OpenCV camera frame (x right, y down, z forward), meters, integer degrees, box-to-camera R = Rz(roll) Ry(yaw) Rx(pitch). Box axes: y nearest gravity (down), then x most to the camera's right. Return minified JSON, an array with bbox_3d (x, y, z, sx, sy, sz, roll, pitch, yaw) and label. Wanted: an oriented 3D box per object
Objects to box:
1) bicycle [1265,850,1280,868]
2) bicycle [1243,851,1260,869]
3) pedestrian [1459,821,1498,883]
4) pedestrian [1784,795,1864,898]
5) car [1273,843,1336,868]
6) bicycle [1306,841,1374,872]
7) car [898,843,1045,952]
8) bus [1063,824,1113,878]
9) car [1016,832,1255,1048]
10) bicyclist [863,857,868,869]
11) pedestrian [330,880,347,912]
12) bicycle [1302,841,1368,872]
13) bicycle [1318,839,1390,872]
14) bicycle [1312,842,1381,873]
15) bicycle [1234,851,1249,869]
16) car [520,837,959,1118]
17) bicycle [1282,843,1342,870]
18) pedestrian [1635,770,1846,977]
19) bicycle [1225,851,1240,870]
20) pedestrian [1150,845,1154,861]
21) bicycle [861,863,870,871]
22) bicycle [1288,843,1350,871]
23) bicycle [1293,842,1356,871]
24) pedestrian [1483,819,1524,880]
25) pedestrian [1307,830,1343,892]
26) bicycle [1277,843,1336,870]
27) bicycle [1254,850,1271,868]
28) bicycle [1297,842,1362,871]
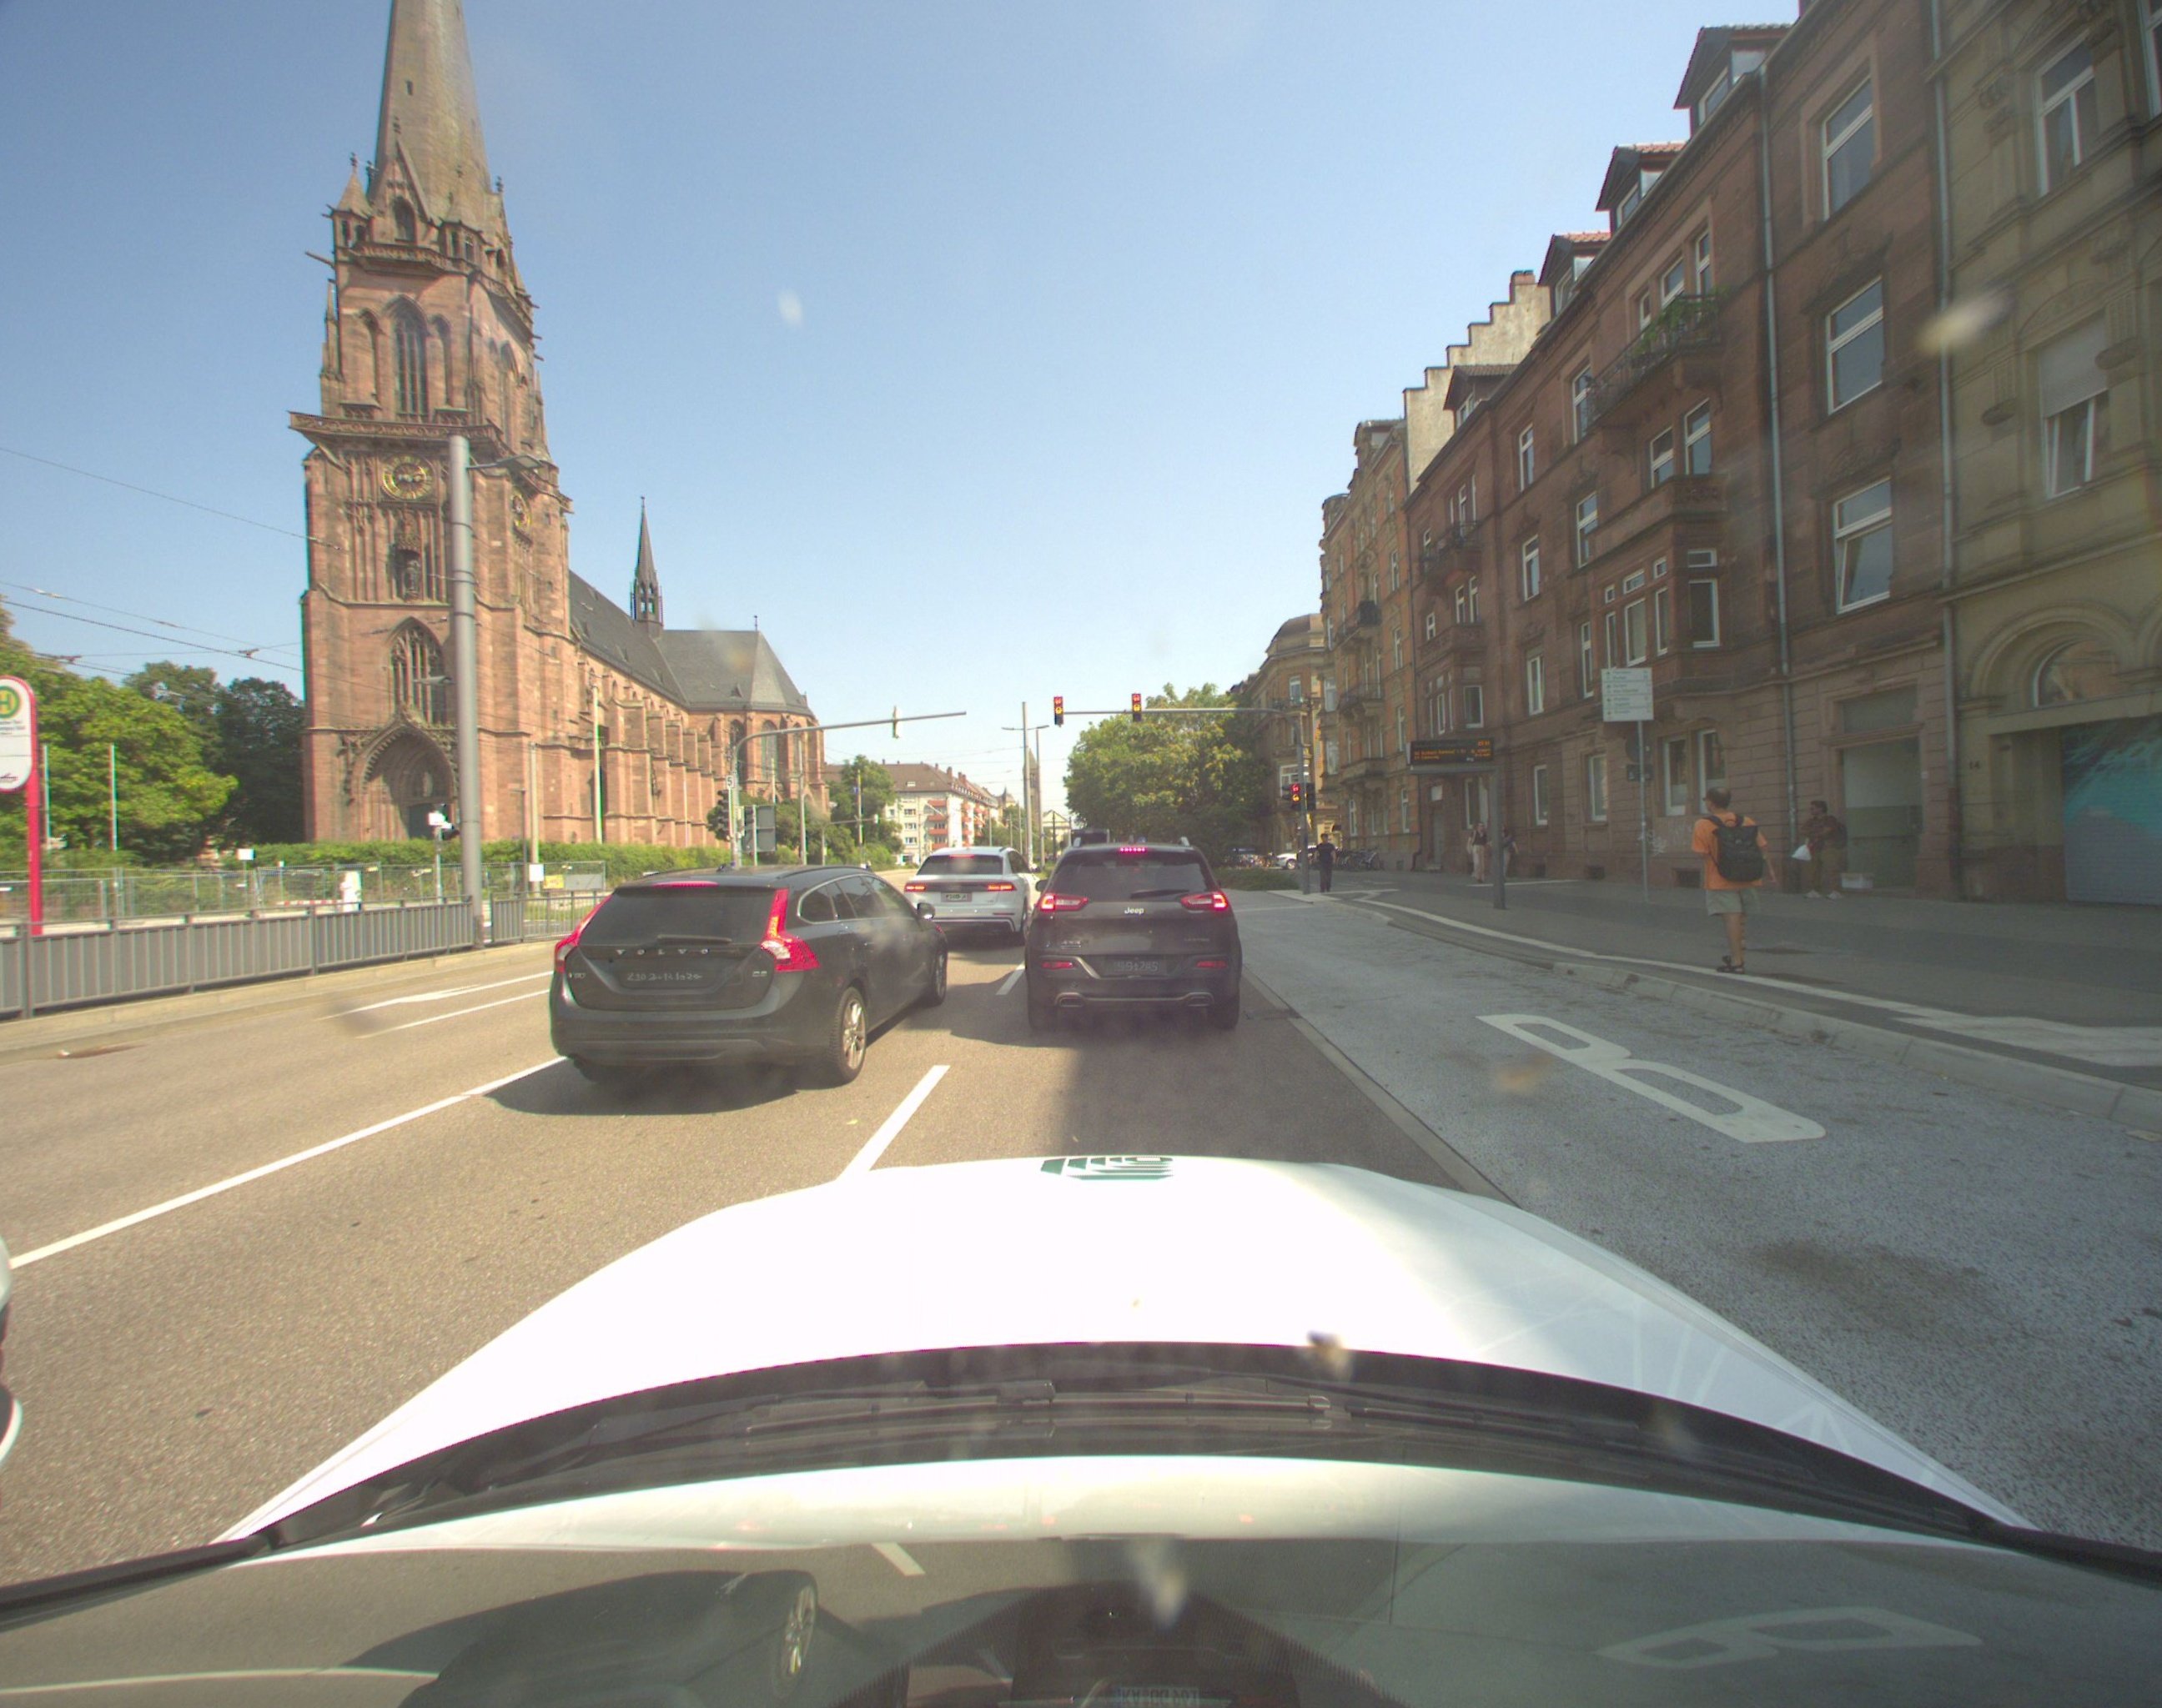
[{"bbox_3d":[13.795,0.329,58.736,0.655,1.249,2.415,-2,0,4],"label":"bicycle"},{"bbox_3d":[12.194,0.395,58.326,0.729,1.253,3.017,-2,0,4],"label":"bicycle"},{"bbox_3d":[11.840,-0.061,24.269,0.711,1.776,0.848,-2,0,1],"label":"pedestrian"},{"bbox_3d":[13.282,-0.138,14.567,0.872,1.778,0.737,-2,0,-26],"label":"pedestrian"},{"bbox_3d":[15.687,0.105,57.275,3.926,1.521,1.679,-2,0,-6],"label":"car"},{"bbox_3d":[12.603,0.133,39.675,2.983,1.371,0.871,-2,0,1],"label":"bicycle"},{"bbox_3d":[-1.777,0.657,14.690,1.895,1.651,4.310,-1,0,2],"label":"car"},{"bbox_3d":[0.270,-0.135,53.277,2.736,3.107,11.945,-1,0,-2],"label":"bus"},{"bbox_3d":[0.530,0.658,8.448,1.825,1.651,4.312,-1,0,3],"label":"car"},{"bbox_3d":[-23.848,1.016,90.091,0.446,1.321,0.425,-2,0,3],"label":"bicyclist"},{"bbox_3d":[-36.188,2.030,39.697,0.430,1.531,0.548,-3,0,43],"label":"pedestrian"},{"bbox_3d":[12.657,0.131,40.622,2.983,1.371,0.871,-2,0,1],"label":"bicycle"},{"bbox_3d":[12.674,0.070,37.854,2.983,1.371,0.871,-2,0,1],"label":"bicycle"},{"bbox_3d":[12.614,0.165,38.761,2.983,1.371,0.871,-2,0,1],"label":"bicycle"},{"bbox_3d":[11.497,0.422,58.344,0.646,1.253,3.017,-2,0,4],"label":"bicycle"},{"bbox_3d":[-2.314,0.714,6.887,1.741,1.614,4.310,-1,0,2],"label":"car"},{"bbox_3d":[12.735,0.135,44.990,2.993,1.373,0.948,-2,0,1],"label":"bicycle"},{"bbox_3d":[6.041,0.180,7.568,0.959,1.741,1.241,-2,-1,6],"label":"pedestrian"},{"bbox_3d":[10.840,0.452,58.384,0.646,1.253,3.017,-2,0,4],"label":"bicycle"},{"bbox_3d":[9.491,-0.147,108.847,0.526,2.013,0.532,-2,0,0],"label":"pedestrian"},{"bbox_3d":[-23.835,1.405,90.097,0.452,0.859,1.477,-2,0,3],"label":"bicycle"},{"bbox_3d":[12.730,0.143,43.672,2.993,1.373,0.948,-2,0,1],"label":"bicycle"},{"bbox_3d":[12.736,0.141,42.660,2.993,1.373,0.948,-2,0,1],"label":"bicycle"},{"bbox_3d":[12.580,-0.135,24.249,0.712,1.778,0.870,-2,0,0],"label":"pedestrian"},{"bbox_3d":[7.140,0.193,23.822,0.891,1.741,0.772,-4,-1,18],"label":"pedestrian"},{"bbox_3d":[12.730,0.154,46.032,2.993,1.373,0.948,-2,0,1],"label":"bicycle"},{"bbox_3d":[12.980,0.363,58.322,0.759,1.253,3.017,-2,0,4],"label":"bicycle"},{"bbox_3d":[12.688,0.124,41.566,2.993,1.373,0.948,-2,0,1],"label":"bicycle"}]
